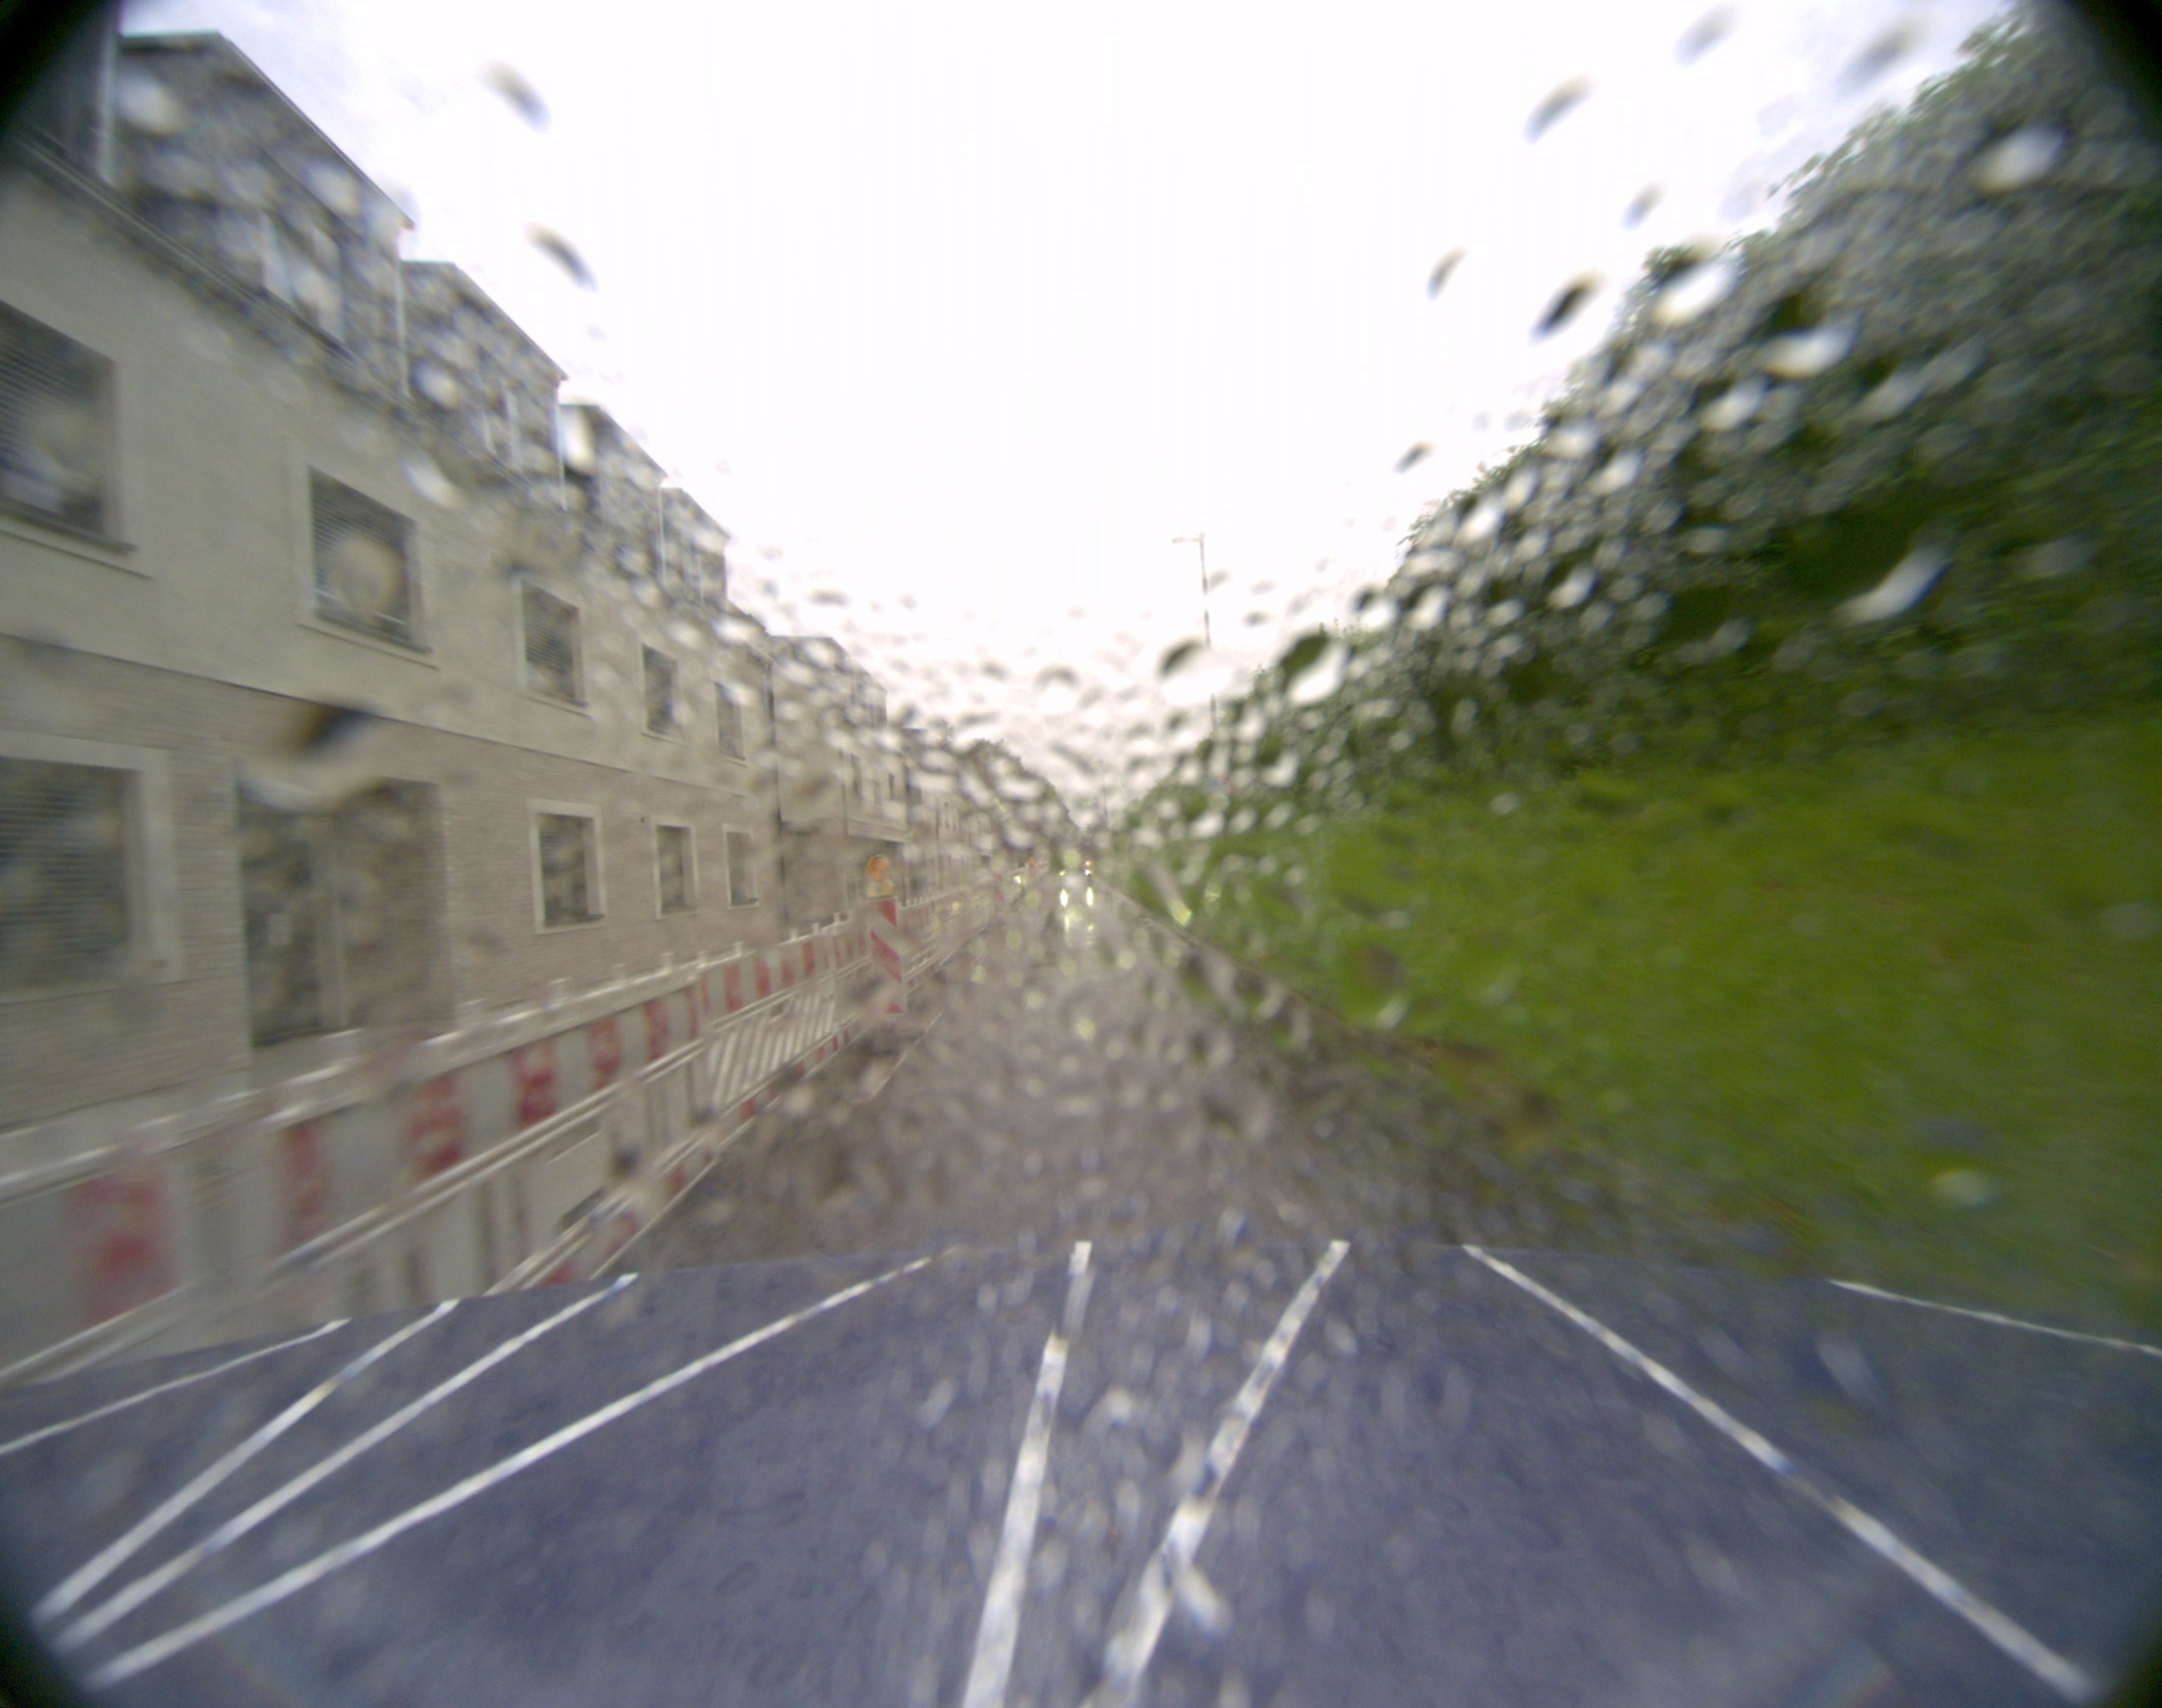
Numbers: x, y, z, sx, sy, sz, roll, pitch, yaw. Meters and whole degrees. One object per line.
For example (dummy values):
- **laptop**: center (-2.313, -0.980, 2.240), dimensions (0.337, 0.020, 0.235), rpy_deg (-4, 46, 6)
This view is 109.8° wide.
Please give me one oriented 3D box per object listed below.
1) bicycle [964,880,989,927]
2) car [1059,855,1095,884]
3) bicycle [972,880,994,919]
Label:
- **bicycle**: center (-2.717, 1.271, 19.785), dimensions (0.407, 1.137, 1.221), rpy_deg (-3, 1, 1)
- **car**: center (-0.246, 0.848, 43.474), dimensions (1.852, 1.444, 4.531), rpy_deg (-3, 1, -1)
- **bicycle**: center (-2.820, 1.313, 22.019), dimensions (0.407, 1.023, 1.221), rpy_deg (-3, 1, 1)
